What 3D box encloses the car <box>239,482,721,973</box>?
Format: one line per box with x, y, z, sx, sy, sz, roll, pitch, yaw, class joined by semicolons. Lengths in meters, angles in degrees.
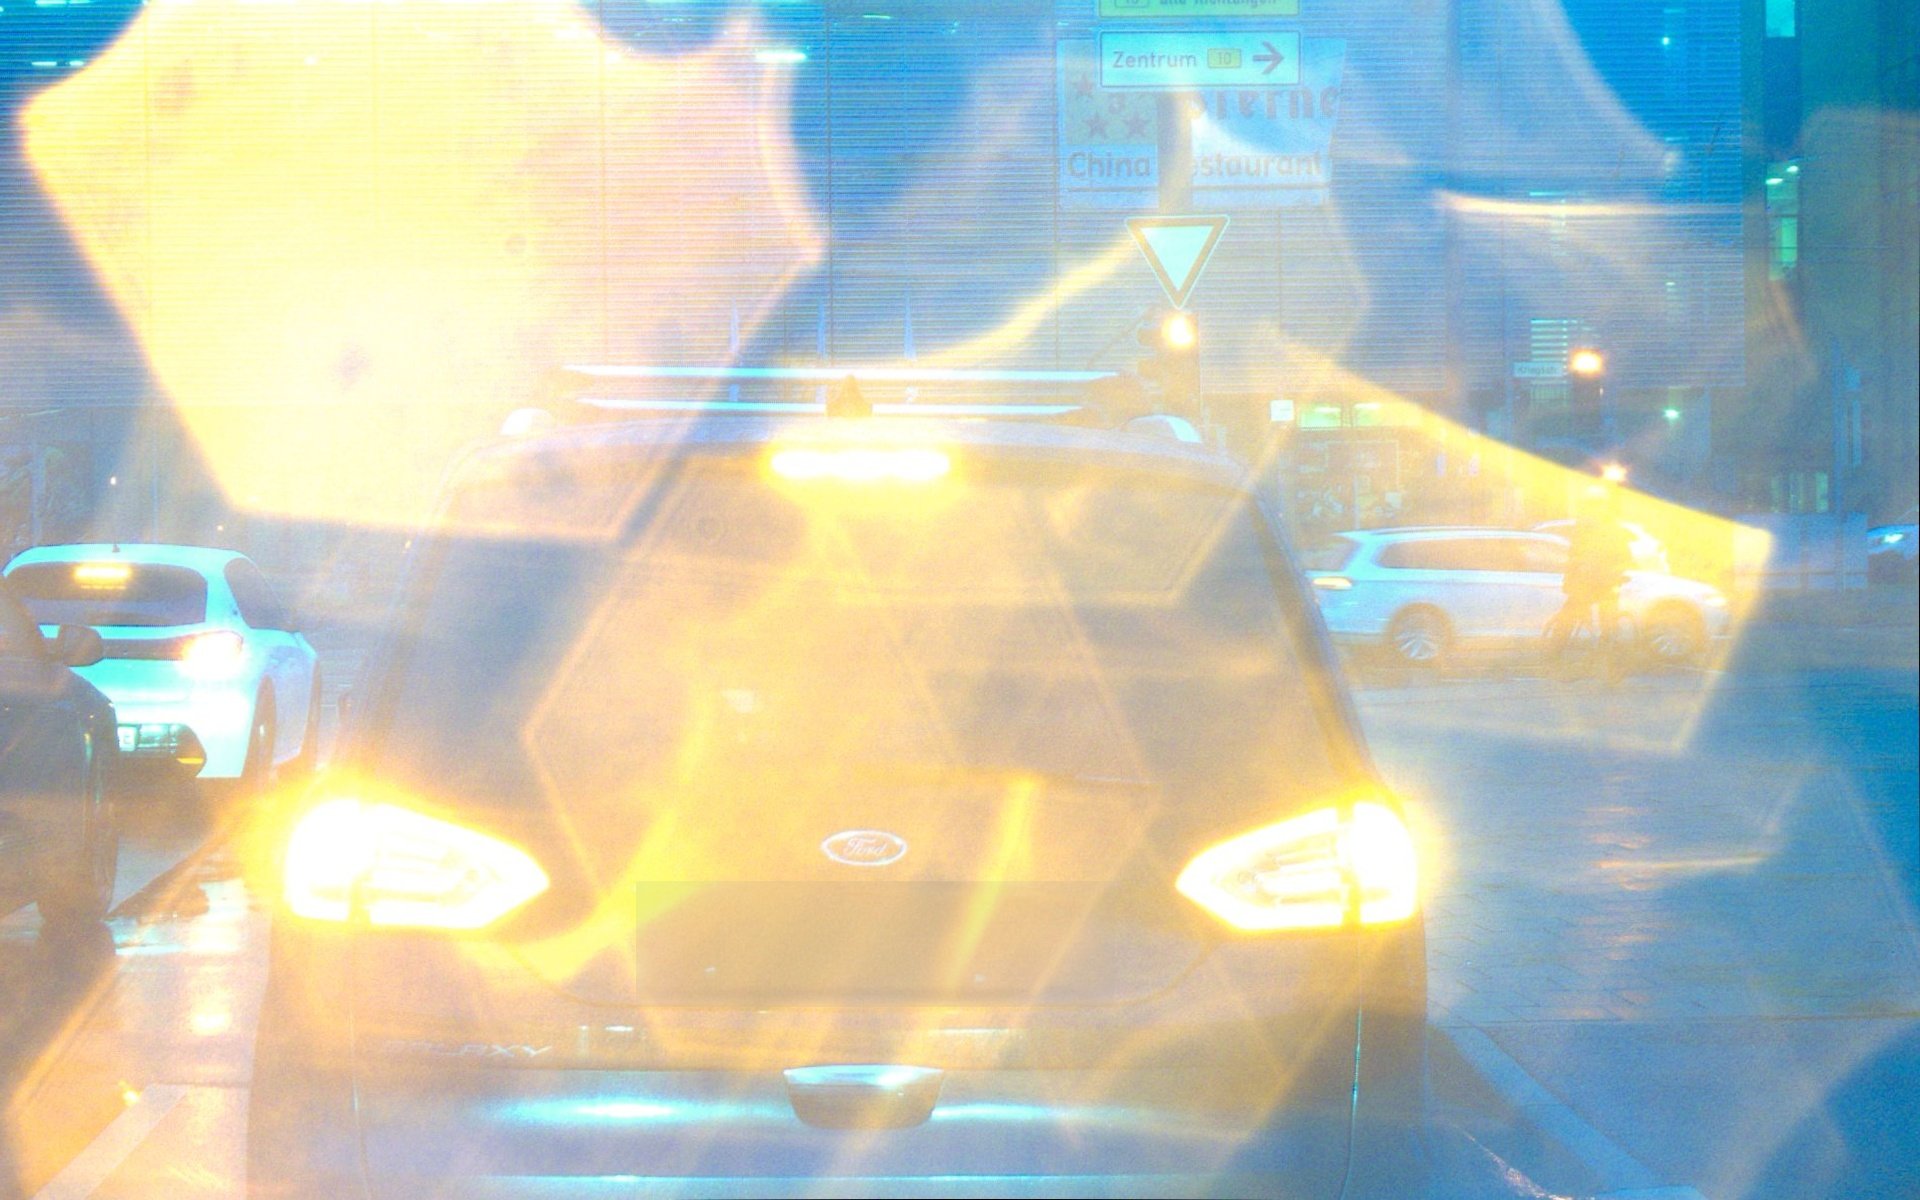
-1.812;0.418;13.712;1.636;1.691;3.671;1;1;-5;car

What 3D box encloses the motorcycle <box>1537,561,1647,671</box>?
5.804;0.139;31.656;0.853;0.968;1.581;0;1;5;motorcycle

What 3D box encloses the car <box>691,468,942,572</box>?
-2.867;-1.587;68.279;4.838;1.993;1.800;-1;1;-7;car

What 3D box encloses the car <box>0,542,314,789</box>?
-4.552;0.300;19.539;1.540;1.247;4.069;0;1;-8;car

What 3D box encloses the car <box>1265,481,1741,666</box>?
5.771;-0.293;36.803;4.667;1.844;1.832;-1;0;-9;car

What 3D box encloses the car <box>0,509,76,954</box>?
-4.223;0.479;11.540;1.752;1.568;4.001;-1;1;-4;car

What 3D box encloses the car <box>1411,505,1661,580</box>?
11.110;-1.121;66.439;4.418;1.385;1.800;-1;1;-7;car

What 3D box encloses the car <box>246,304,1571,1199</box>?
-0.175;0.453;6.717;1.735;1.732;4.247;2;1;-3;car

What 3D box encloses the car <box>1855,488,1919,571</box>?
19.905;-1.388;67.004;4.418;1.589;1.800;-1;1;-7;car

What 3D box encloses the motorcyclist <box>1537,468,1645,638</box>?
5.804;-0.436;31.661;0.868;1.529;1.108;0;1;5;motorcyclist
